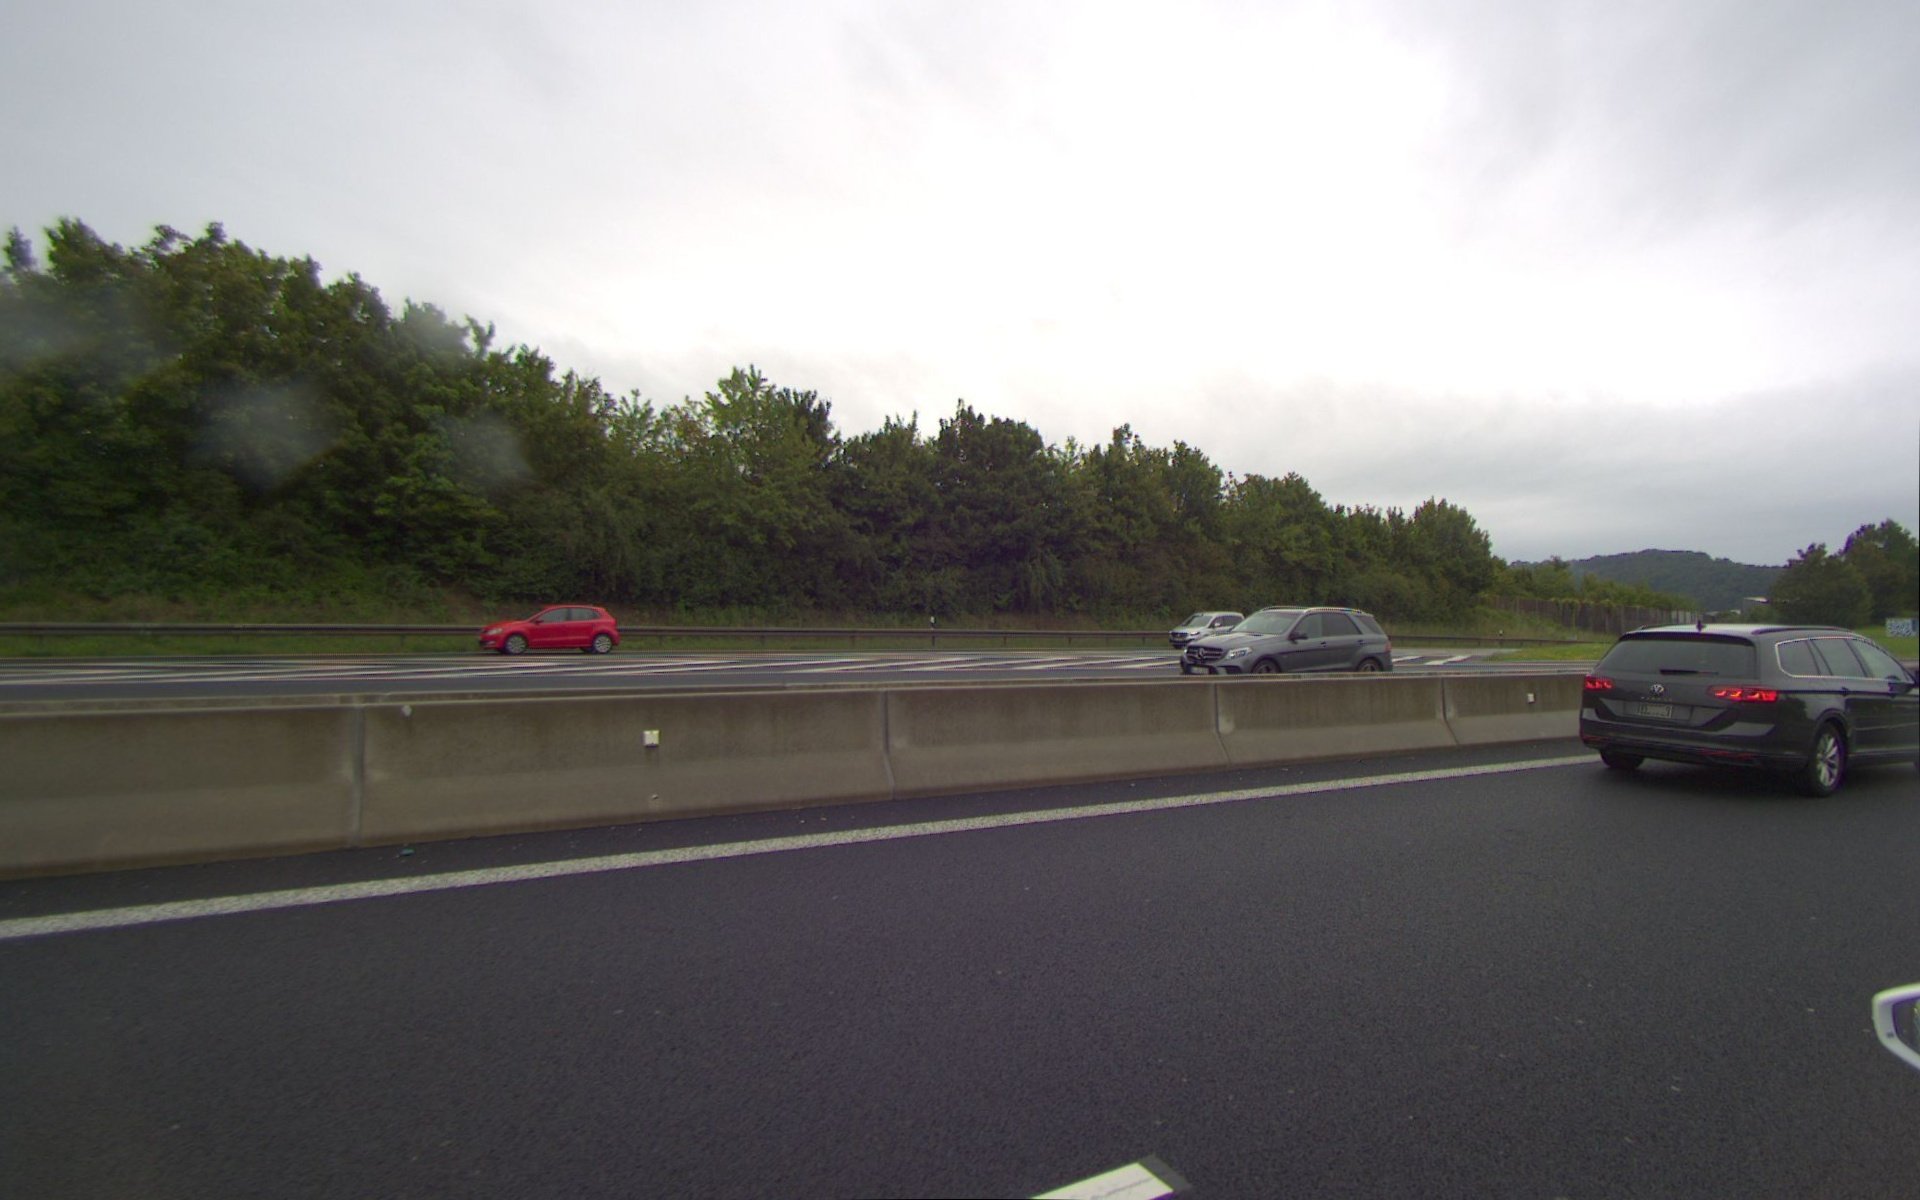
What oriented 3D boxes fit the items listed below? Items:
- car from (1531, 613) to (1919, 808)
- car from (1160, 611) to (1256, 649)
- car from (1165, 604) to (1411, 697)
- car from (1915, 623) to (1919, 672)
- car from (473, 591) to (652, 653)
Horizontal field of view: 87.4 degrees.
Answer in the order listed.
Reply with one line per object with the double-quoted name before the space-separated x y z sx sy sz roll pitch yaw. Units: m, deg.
"car" 7.969 0.942 9.908 4.793 1.517 1.892 2 -1 -30
"car" 11.901 1.441 48.116 4.528 1.718 2.163 1 -1 -38
"car" 6.745 0.987 20.631 4.671 1.718 2.172 1 -1 -27
"car" 36.172 1.712 35.408 4.802 1.718 2.172 1 -1 -27
"car" -11.902 0.649 30.240 4.589 1.718 2.162 1 -1 -40
